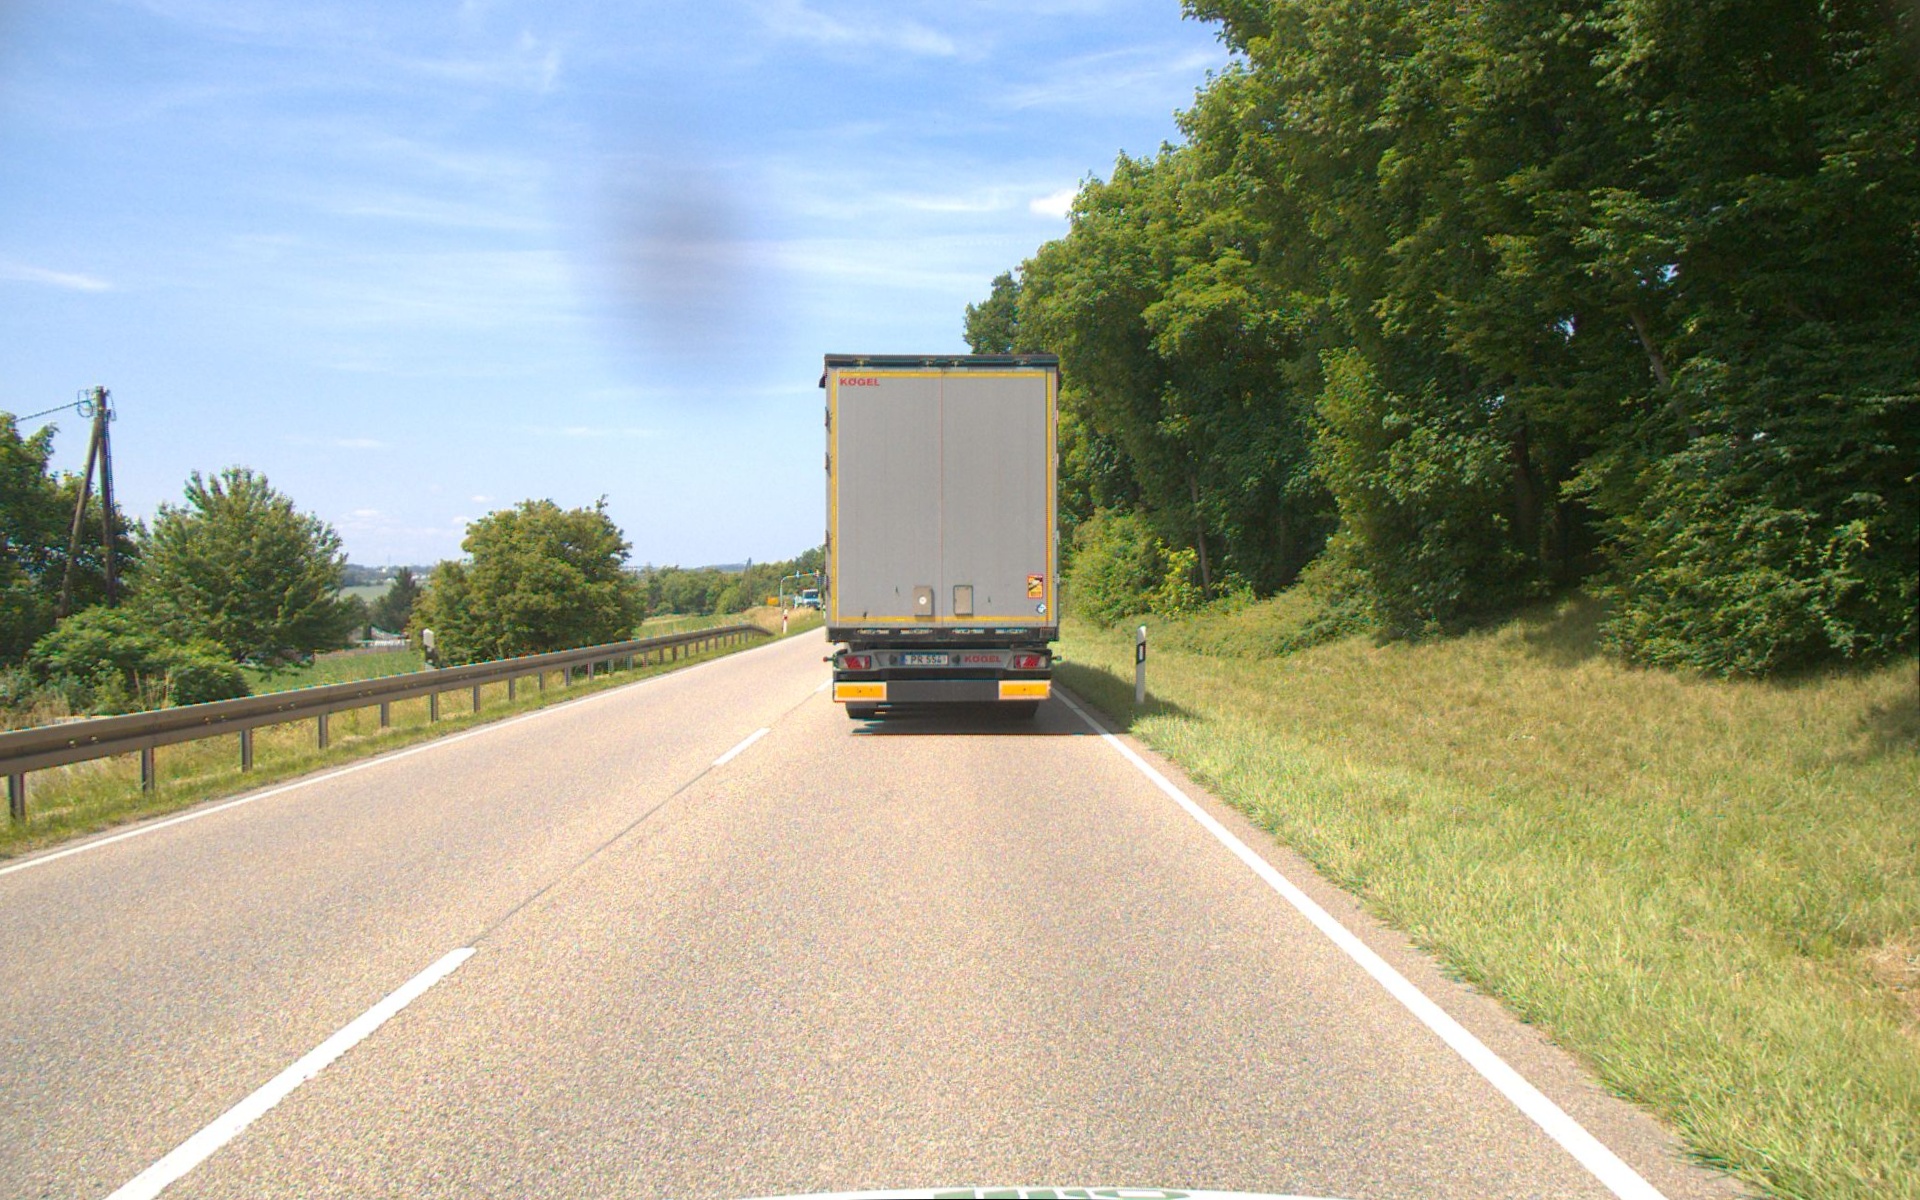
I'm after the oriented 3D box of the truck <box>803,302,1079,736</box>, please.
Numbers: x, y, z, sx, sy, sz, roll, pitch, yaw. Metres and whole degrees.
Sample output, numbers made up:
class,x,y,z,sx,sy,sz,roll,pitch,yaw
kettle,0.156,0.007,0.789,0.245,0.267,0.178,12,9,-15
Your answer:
class,x,y,z,sx,sy,sz,roll,pitch,yaw
truck,-0.266,-0.854,21.538,2.848,4.487,8.858,0,0,-1

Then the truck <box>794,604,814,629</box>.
class,x,y,z,sx,sy,sz,roll,pitch,yaw
truck,-23.703,2.523,251.472,2.703,3.638,11.053,-3,-1,-5
